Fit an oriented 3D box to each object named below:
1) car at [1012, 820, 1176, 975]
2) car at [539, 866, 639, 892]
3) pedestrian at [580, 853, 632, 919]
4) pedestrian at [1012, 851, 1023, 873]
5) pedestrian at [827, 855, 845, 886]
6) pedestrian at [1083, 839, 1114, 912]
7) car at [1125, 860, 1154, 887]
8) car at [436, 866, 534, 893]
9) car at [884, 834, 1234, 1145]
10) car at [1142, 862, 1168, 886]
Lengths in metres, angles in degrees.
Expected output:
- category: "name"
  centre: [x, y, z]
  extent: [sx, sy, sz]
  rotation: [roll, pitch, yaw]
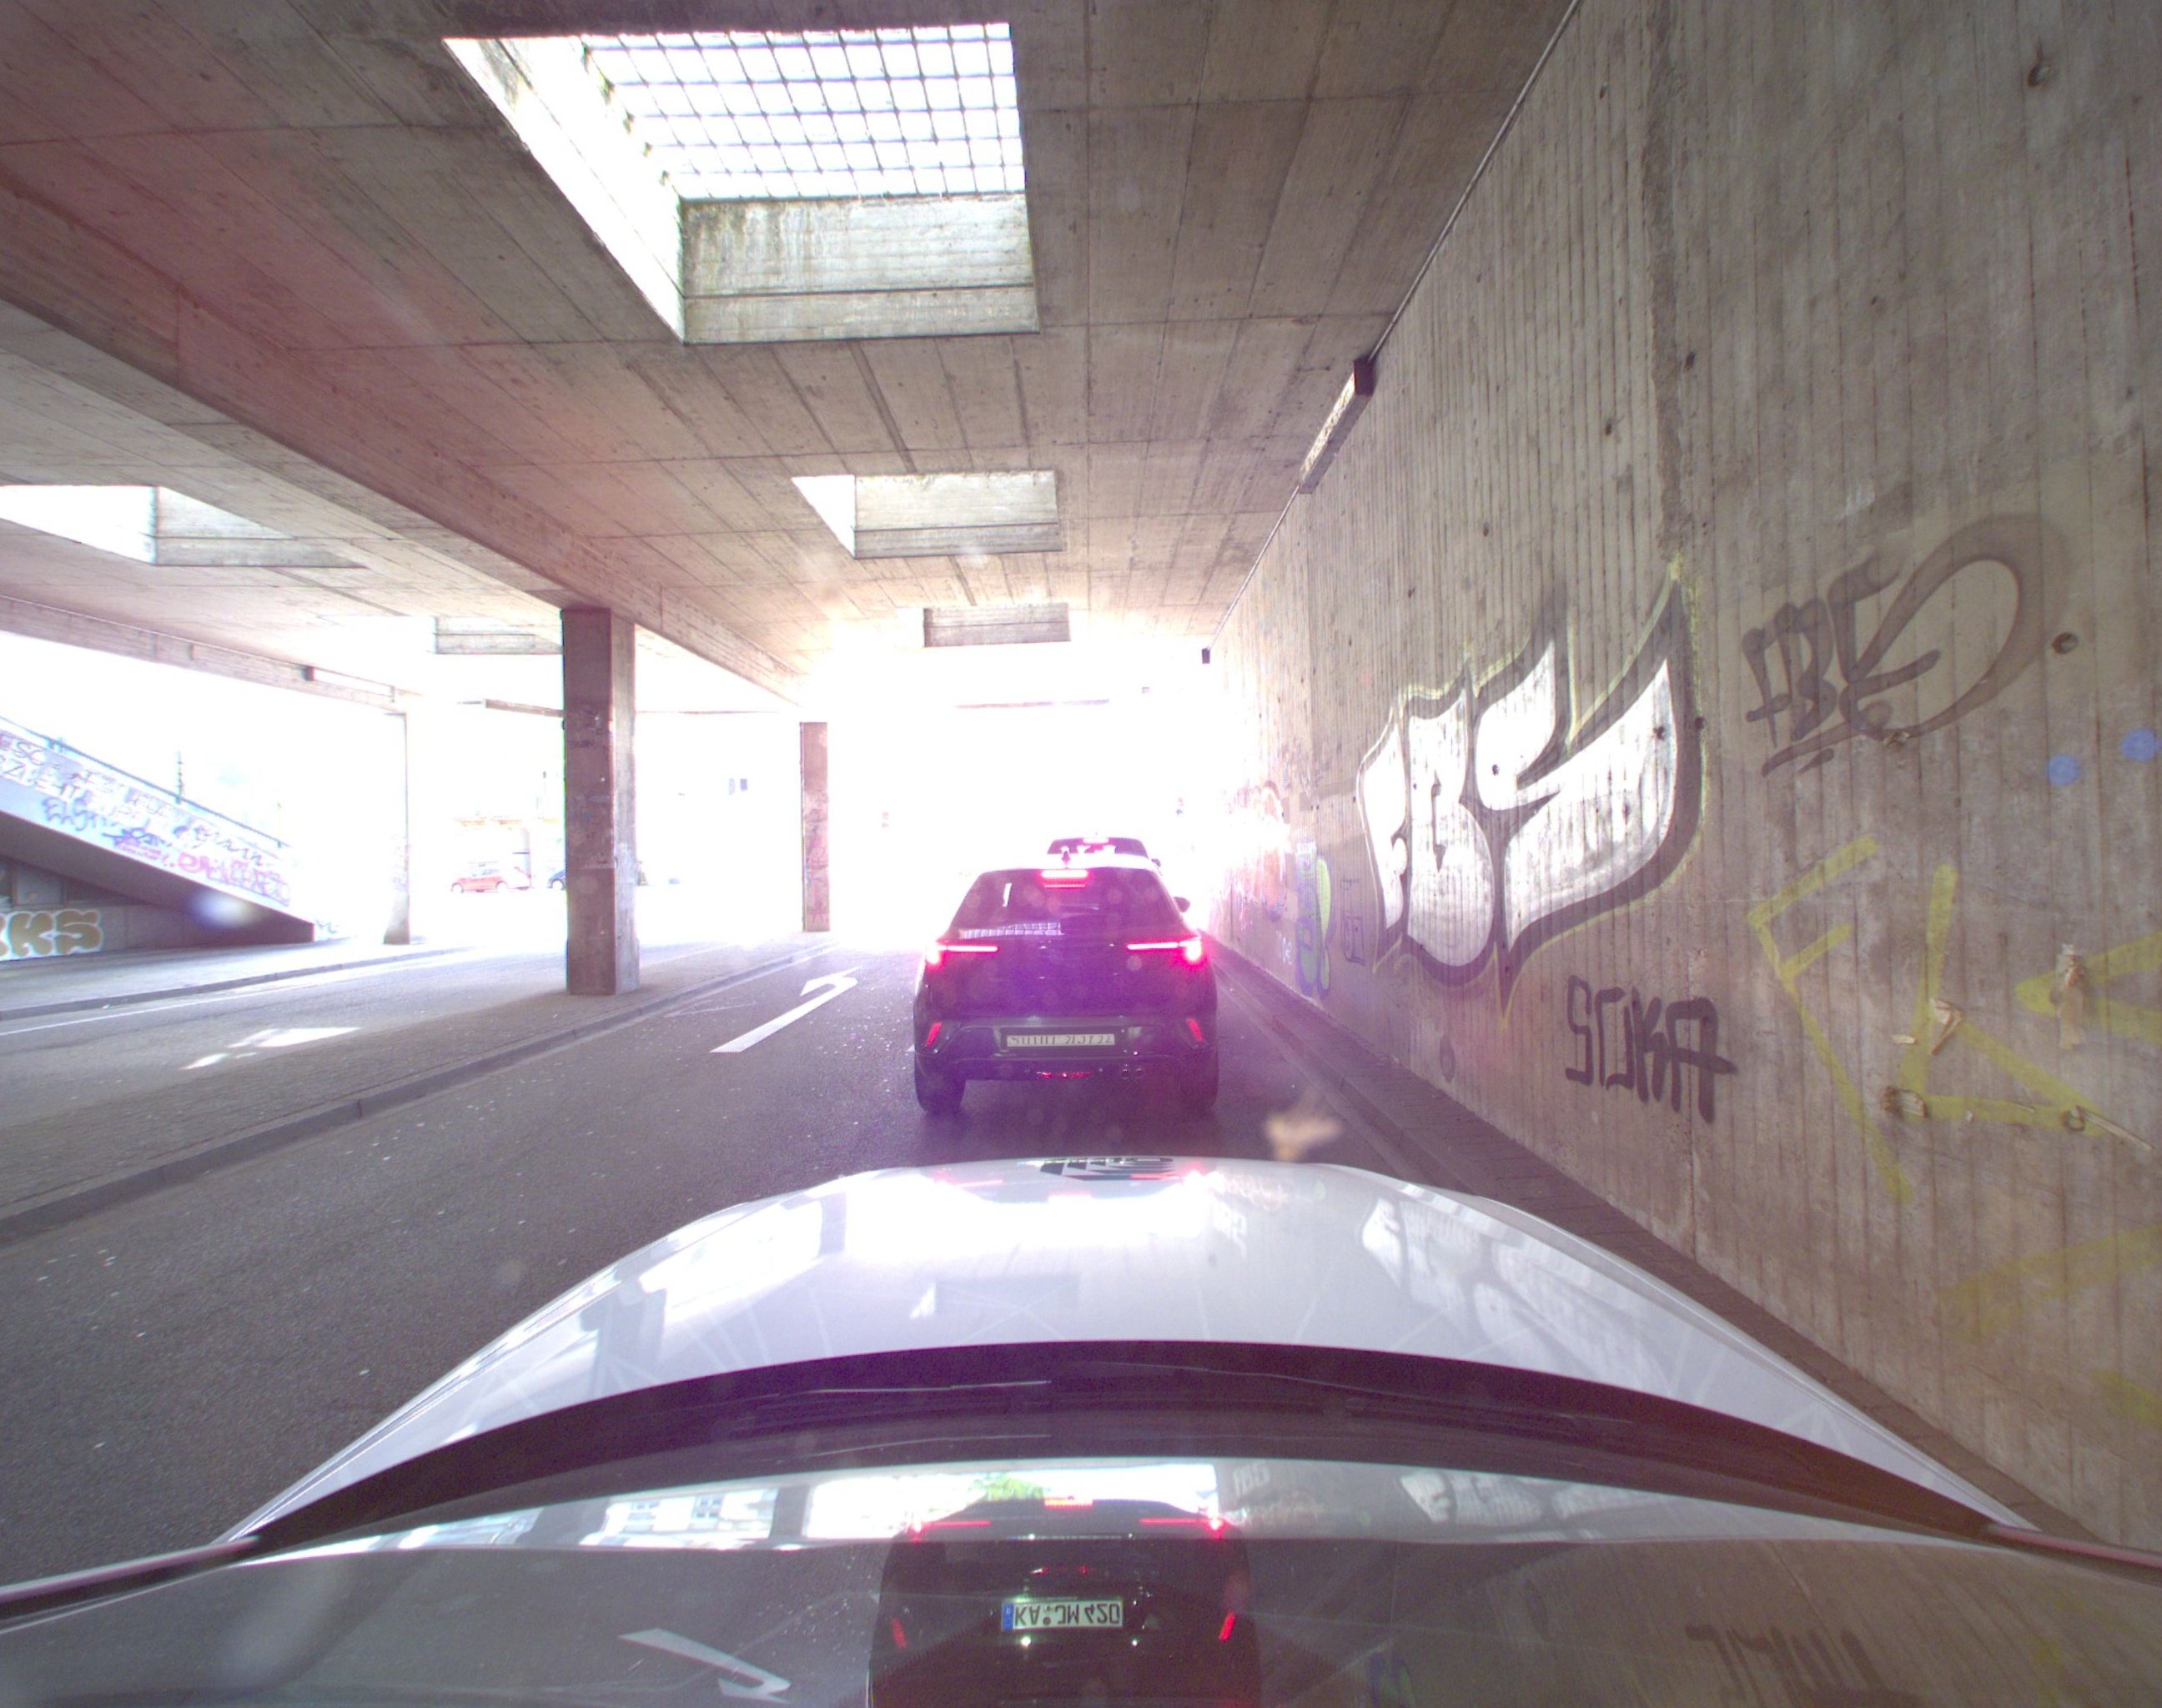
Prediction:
- category: "car"
  centre: [0.230, 0.543, 12.109]
  extent: [1.986, 1.871, 4.002]
  rotation: [-2, 0, 2]
- category: "car"
  centre: [-27.334, 1.378, 45.356]
  extent: [4.393, 1.409, 1.925]
  rotation: [0, -1, -1]
- category: "pedestrian"
  centre: [-13.019, 0.869, 22.342]
  extent: [0.925, 1.762, 0.795]
  rotation: [0, -1, 3]
- category: "pedestrian"
  centre: [-6.133, 0.794, 79.096]
  extent: [0.887, 2.088, 0.810]
  rotation: [0, -1, 9]
- category: "pedestrian"
  centre: [-13.103, 0.883, 43.561]
  extent: [0.669, 1.637, 0.741]
  rotation: [0, -1, 1]
- category: "pedestrian"
  centre: [0.436, 0.519, 19.972]
  extent: [0.728, 1.734, 0.874]
  rotation: [0, -1, 1]
- category: "car"
  centre: [4.511, 1.452, 62.343]
  extent: [1.983, 1.970, 4.172]
  rotation: [0, -1, 7]
- category: "car"
  centre: [-33.049, 1.386, 45.265]
  extent: [3.975, 1.409, 1.925]
  rotation: [0, -1, -1]
- category: "car"
  centre: [-0.046, 0.653, 6.117]
  extent: [1.758, 1.571, 4.002]
  rotation: [0, 1, 2]
- category: "car"
  centre: [6.248, 1.644, 68.420]
  extent: [1.983, 1.970, 4.172]
  rotation: [0, -1, 7]
